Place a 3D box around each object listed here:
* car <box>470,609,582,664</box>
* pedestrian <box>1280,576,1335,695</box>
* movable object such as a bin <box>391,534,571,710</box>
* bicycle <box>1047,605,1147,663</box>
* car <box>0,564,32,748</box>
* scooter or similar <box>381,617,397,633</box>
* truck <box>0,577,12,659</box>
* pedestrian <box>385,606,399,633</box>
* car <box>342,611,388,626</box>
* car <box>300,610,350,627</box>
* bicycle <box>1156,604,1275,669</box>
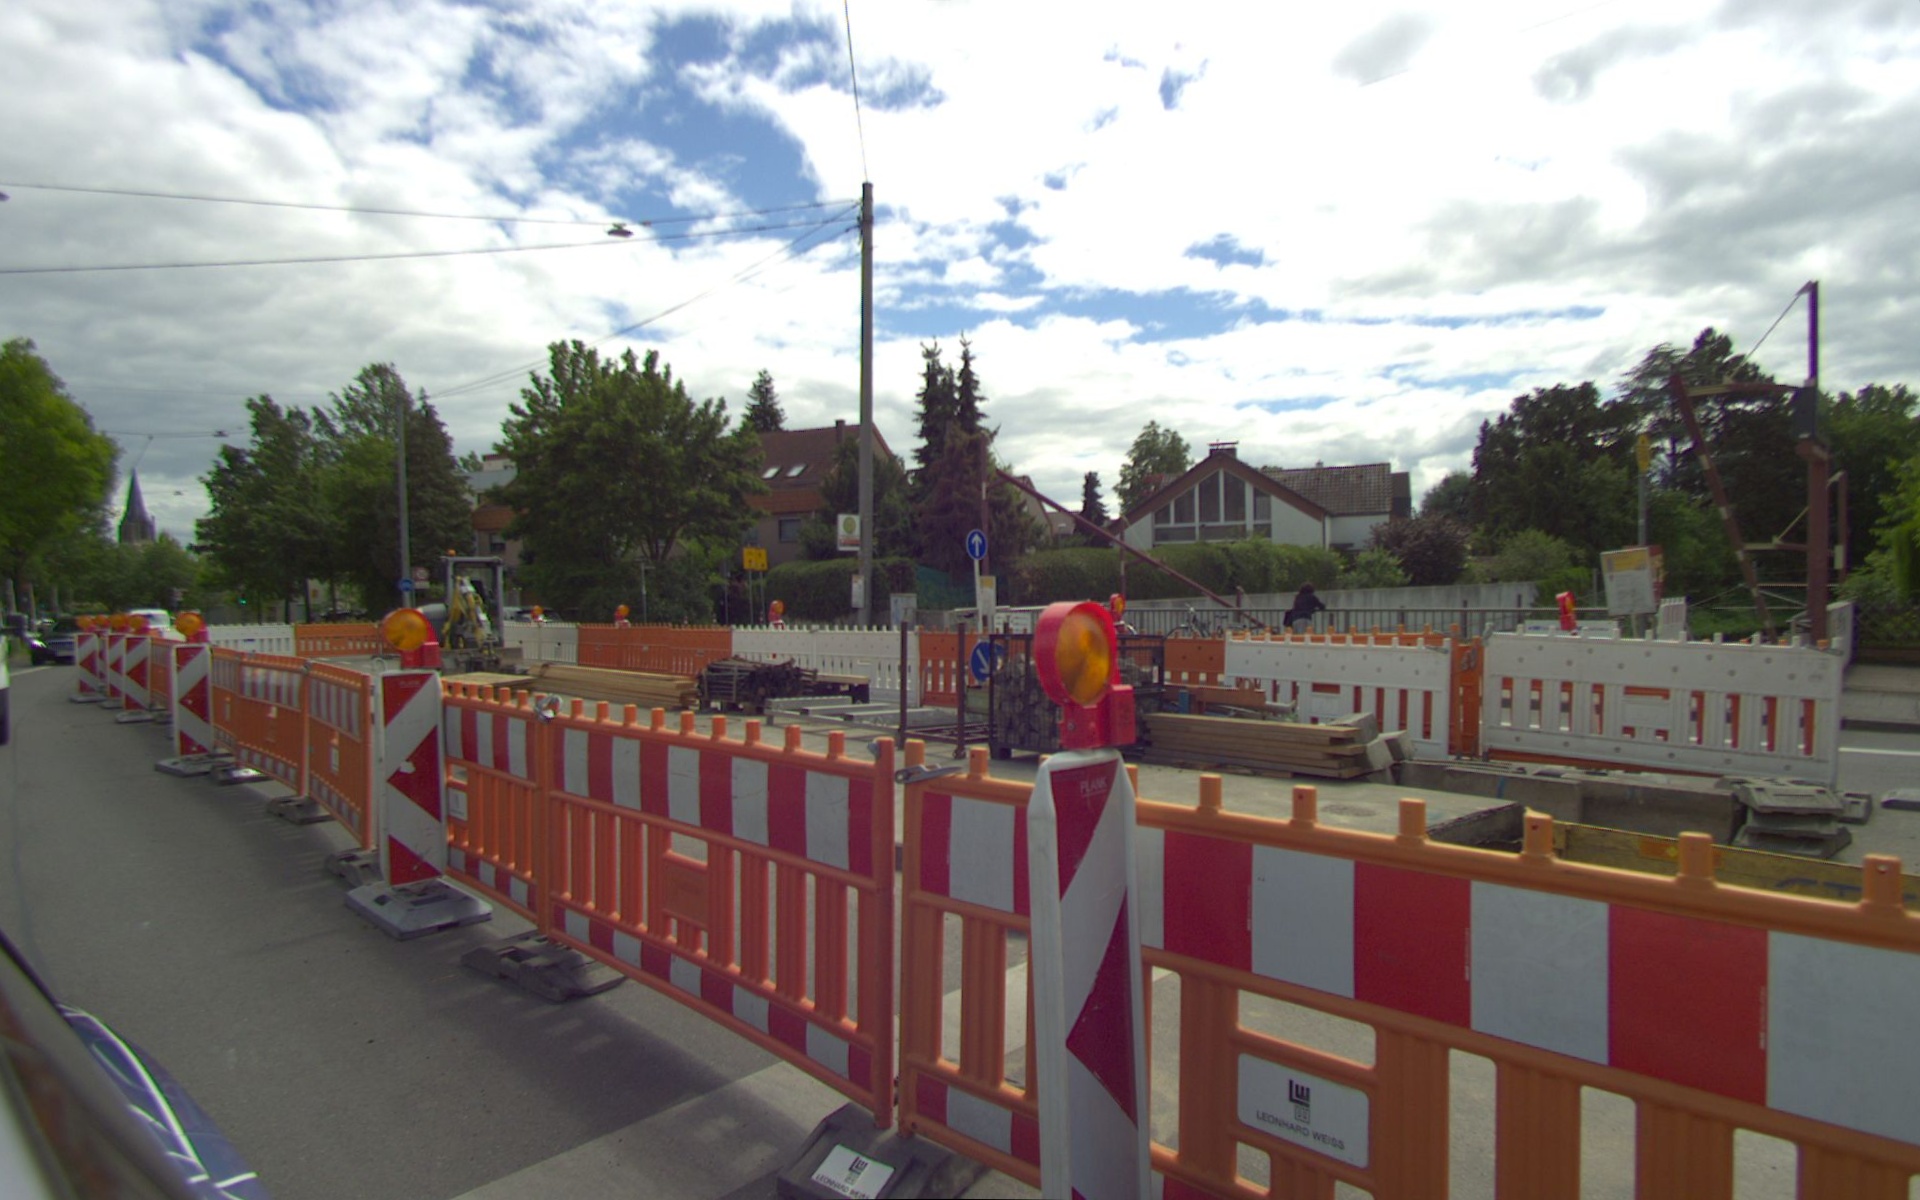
[{"bbox_3d":[-13.358,1.078,31.039,1.832,1.524,4.446,-1,0,-42],"label":"car"},{"bbox_3d":[5.705,0.564,16.614,0.671,1.900,0.585,-1,0,-44],"label":"pedestrian"},{"bbox_3d":[-8.929,0.353,18.455,1.967,2.645,6.539,-1,0,-34],"label":"movable object such as a bin"},{"bbox_3d":[2.696,0.663,20.157,0.531,1.091,2.134,-1,0,-41],"label":"bicycle"},{"bbox_3d":[-12.973,0.633,12.461,1.969,2.028,5.522,-3,2,-40],"label":"car"},{"bbox_3d":[-32.246,1.418,57.129,0.628,0.871,1.032,-2,1,-38],"label":"scooter or similar"},{"bbox_3d":[-41.273,0.990,39.395,6.545,3.222,2.341,-5,0,3],"label":"truck"},{"bbox_3d":[-31.707,1.104,56.481,0.547,1.492,0.643,-2,1,-38],"label":"pedestrian"},{"bbox_3d":[-65.172,2.032,110.930,1.989,1.519,3.966,-2,1,26],"label":"car"},{"bbox_3d":[-66.570,1.919,106.118,1.988,1.519,3.969,-2,1,23],"label":"car"},{"bbox_3d":[4.537,0.630,18.138,0.531,1.091,2.134,-1,0,-41],"label":"bicycle"}]
